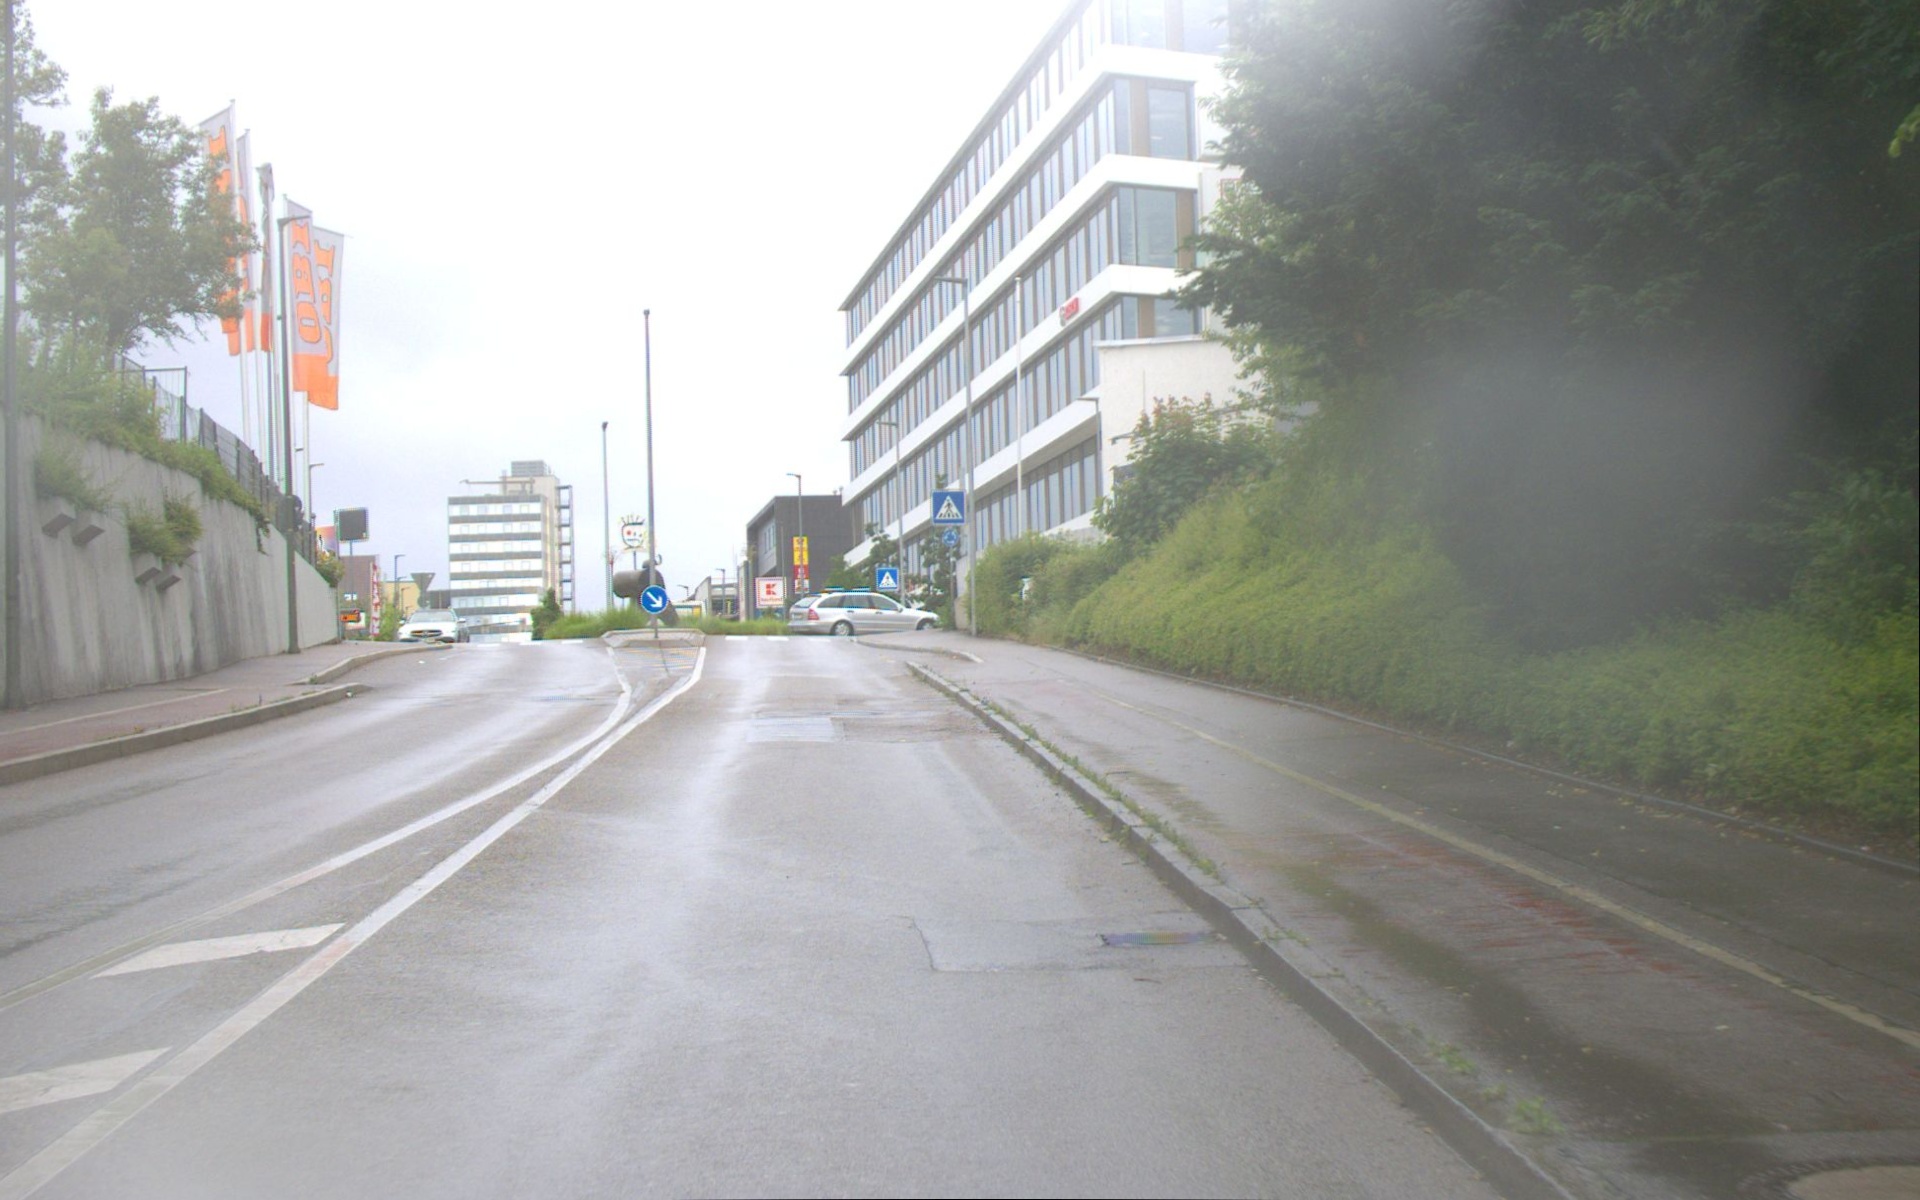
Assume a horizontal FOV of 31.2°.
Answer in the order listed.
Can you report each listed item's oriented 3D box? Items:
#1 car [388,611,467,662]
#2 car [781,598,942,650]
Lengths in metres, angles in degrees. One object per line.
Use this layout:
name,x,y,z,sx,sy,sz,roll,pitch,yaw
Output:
car,-16.143,1.076,104.375,2.001,1.421,4.782,-2,0,-5
car,-2.786,0.665,97.541,4.235,1.357,1.645,-1,1,-28
